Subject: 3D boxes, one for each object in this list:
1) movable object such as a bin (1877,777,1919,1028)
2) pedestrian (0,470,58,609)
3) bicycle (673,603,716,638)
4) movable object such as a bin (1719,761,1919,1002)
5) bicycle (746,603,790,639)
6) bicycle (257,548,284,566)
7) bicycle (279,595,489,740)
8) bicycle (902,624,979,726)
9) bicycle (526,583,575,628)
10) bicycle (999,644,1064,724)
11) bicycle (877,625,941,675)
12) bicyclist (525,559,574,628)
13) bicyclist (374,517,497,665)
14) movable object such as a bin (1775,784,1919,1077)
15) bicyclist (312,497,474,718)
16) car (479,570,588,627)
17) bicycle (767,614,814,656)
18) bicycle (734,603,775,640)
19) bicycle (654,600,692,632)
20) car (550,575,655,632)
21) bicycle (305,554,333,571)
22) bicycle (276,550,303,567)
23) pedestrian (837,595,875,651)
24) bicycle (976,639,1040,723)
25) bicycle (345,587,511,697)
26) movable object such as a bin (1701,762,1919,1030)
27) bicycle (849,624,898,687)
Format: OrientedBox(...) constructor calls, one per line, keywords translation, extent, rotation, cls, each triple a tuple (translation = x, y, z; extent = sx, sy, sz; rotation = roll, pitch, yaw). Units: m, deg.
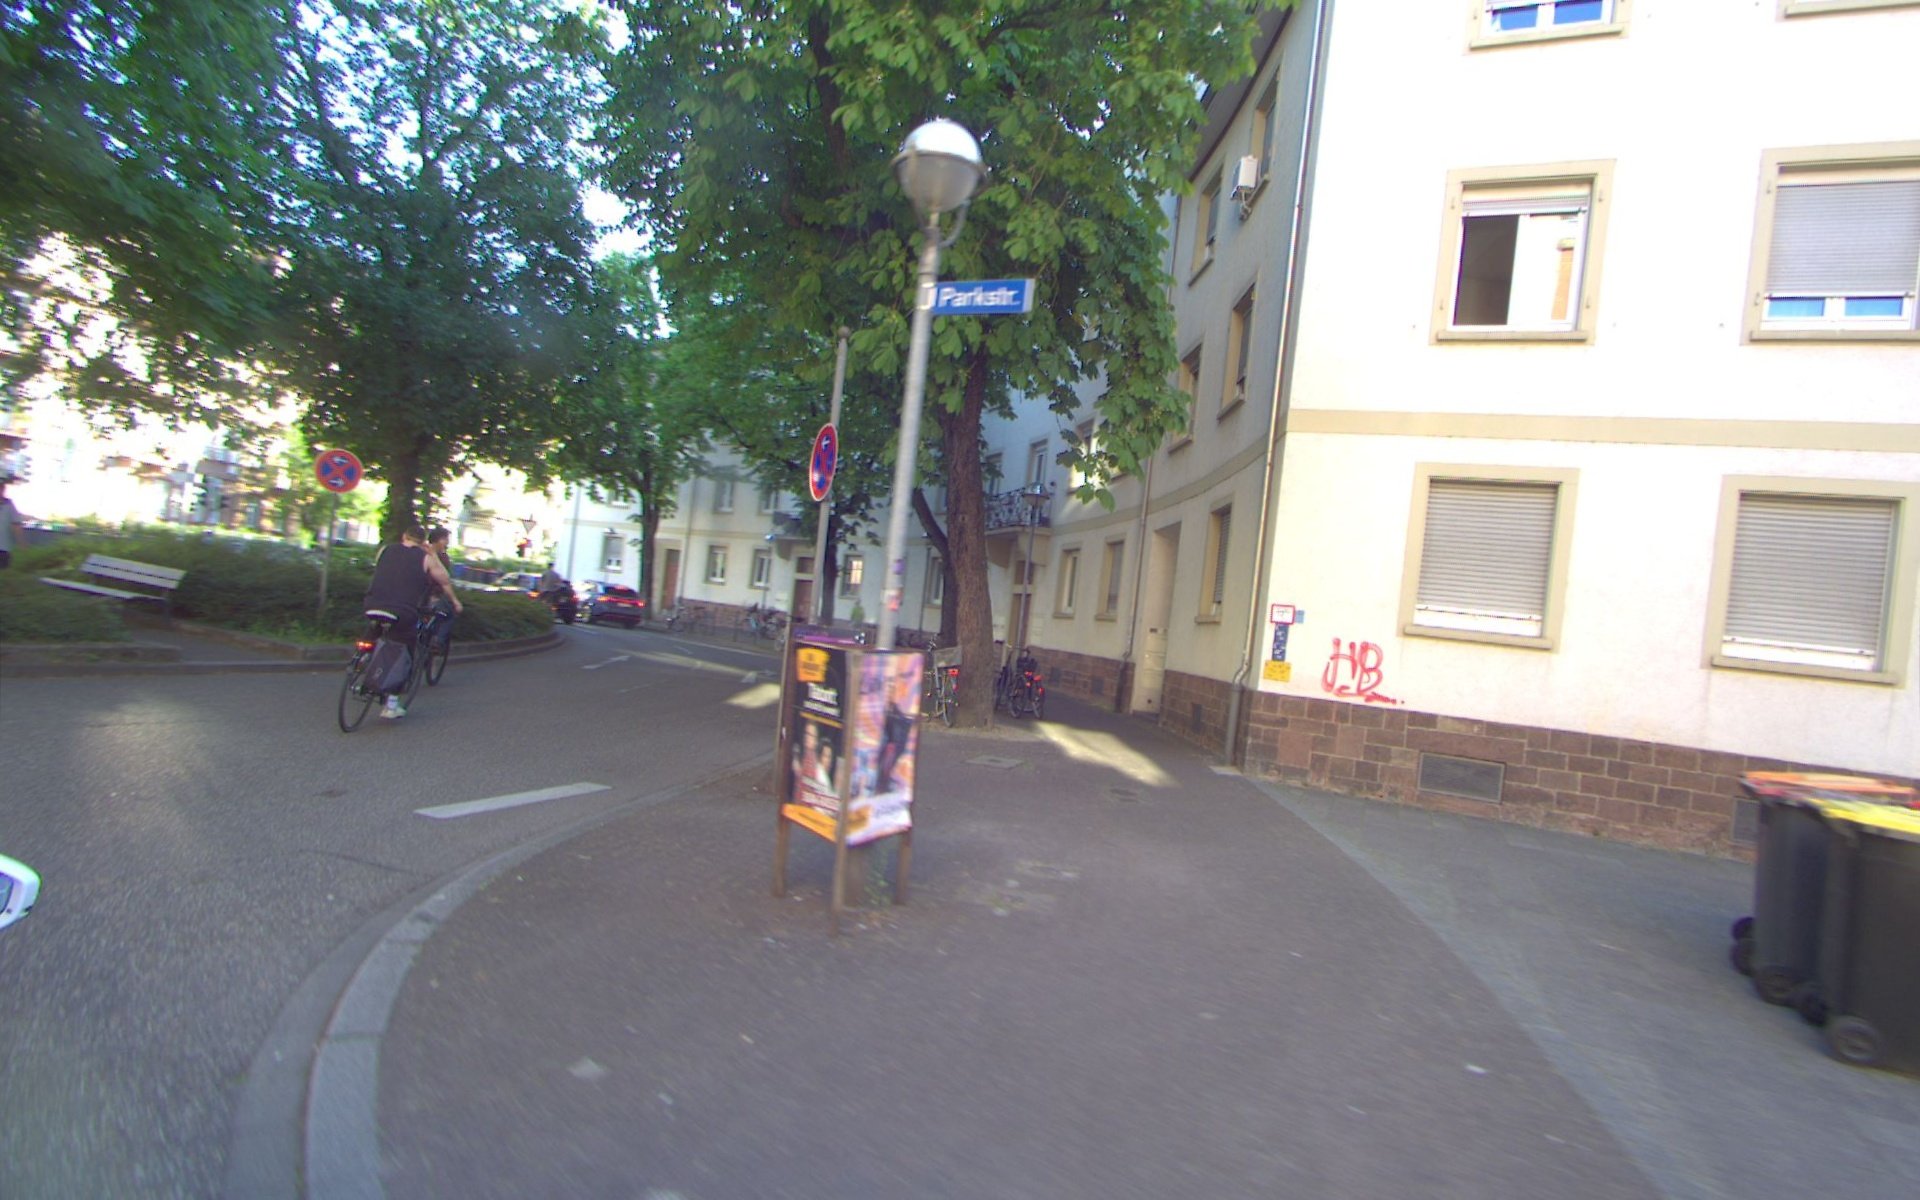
OrientedBox(translation=(5.032, 1.513, 4.811), extent=(0.689, 1.167, 0.633), rotation=(7, 0, 25), cls="movable object such as a bin")
OrientedBox(translation=(-12.342, -0.802, 12.871), extent=(0.767, 1.704, 0.916), rotation=(7, 0, 34), cls="pedestrian")
OrientedBox(translation=(-9.540, 0.721, 36.124), extent=(0.613, 1.072, 1.906), rotation=(4, 1, -42), cls="bicycle")
OrientedBox(translation=(4.789, 1.520, 5.610), extent=(0.661, 1.097, 0.592), rotation=(7, 0, 23), cls="movable object such as a bin")
OrientedBox(translation=(-7.141, 0.768, 37.426), extent=(0.579, 1.128, 2.094), rotation=(6, 0, -40), cls="bicycle")
OrientedBox(translation=(-40.079, -2.506, 58.489), extent=(0.442, 0.872, 1.224), rotation=(7, -1, 19), cls="bicycle")
OrientedBox(translation=(-4.878, 0.524, 8.711), extent=(0.727, 1.024, 2.059), rotation=(8, -1, -7), cls="bicycle")
OrientedBox(translation=(-0.298, 0.978, 13.646), extent=(0.546, 1.196, 1.786), rotation=(7, -1, -14), cls="bicycle")
OrientedBox(translation=(-12.225, 0.153, 30.019), extent=(0.595, 1.175, 2.018), rotation=(7, -1, -42), cls="bicycle")
OrientedBox(translation=(1.153, 1.363, 16.701), extent=(0.386, 1.122, 1.798), rotation=(7, -1, -15), cls="bicycle")
OrientedBox(translation=(-1.381, 1.332, 27.024), extent=(0.668, 1.197, 1.801), rotation=(4, -1, -42), cls="bicycle")
OrientedBox(translation=(-12.271, -0.191, 30.062), extent=(0.848, 1.922, 1.125), rotation=(6, 0, -44), cls="bicyclist")
OrientedBox(translation=(-5.883, -0.082, 11.344), extent=(0.661, 1.533, 1.069), rotation=(6, -1, 1), cls="bicyclist")
OrientedBox(translation=(4.111, 1.419, 4.339), extent=(0.682, 1.077, 0.658), rotation=(7, 0, 25), cls="movable object such as a bin")
OrientedBox(translation=(-4.776, 0.067, 8.543), extent=(0.741, 1.702, 0.912), rotation=(6, 0, -7), cls="bicyclist")
OrientedBox(translation=(-14.260, -0.072, 33.560), extent=(3.905, 1.563, 1.809), rotation=(5, 0, 42), cls="car")
OrientedBox(translation=(-5.136, 1.041, 30.337), extent=(0.611, 1.127, 1.975), rotation=(3, 1, -33), cls="bicycle")
OrientedBox(translation=(-7.586, 0.790, 37.015), extent=(0.491, 1.188, 2.094), rotation=(2, 2, -40), cls="bicycle")
OrientedBox(translation=(-10.638, 0.593, 37.255), extent=(0.517, 1.011, 2.170), rotation=(7, -1, -36), cls="bicycle")
OrientedBox(translation=(-12.937, 0.120, 36.307), extent=(3.948, 1.596, 1.888), rotation=(6, -1, 44), cls="car")
OrientedBox(translation=(-39.579, -2.338, 62.105), extent=(0.442, 0.872, 1.447), rotation=(7, -1, 19), cls="bicycle")
OrientedBox(translation=(-39.758, -2.472, 59.654), extent=(0.442, 0.872, 1.224), rotation=(7, -1, 19), cls="bicycle")
OrientedBox(translation=(-3.606, 0.807, 34.929), extent=(0.988, 1.818, 0.653), rotation=(5, 1, -36), cls="pedestrian")
OrientedBox(translation=(0.766, 1.293, 16.525), extent=(0.431, 1.195, 1.780), rotation=(7, -1, -14), cls="bicycle")
OrientedBox(translation=(-5.937, 0.471, 11.393), extent=(0.663, 1.066, 2.063), rotation=(5, -2, 1), cls="bicycle")
OrientedBox(translation=(4.333, 1.447, 5.115), extent=(0.693, 1.088, 0.630), rotation=(7, 0, 25), cls="movable object such as a bin")
OrientedBox(translation=(-1.860, 1.155, 21.447), extent=(0.670, 1.173, 1.997), rotation=(6, -1, -13), cls="bicycle")
